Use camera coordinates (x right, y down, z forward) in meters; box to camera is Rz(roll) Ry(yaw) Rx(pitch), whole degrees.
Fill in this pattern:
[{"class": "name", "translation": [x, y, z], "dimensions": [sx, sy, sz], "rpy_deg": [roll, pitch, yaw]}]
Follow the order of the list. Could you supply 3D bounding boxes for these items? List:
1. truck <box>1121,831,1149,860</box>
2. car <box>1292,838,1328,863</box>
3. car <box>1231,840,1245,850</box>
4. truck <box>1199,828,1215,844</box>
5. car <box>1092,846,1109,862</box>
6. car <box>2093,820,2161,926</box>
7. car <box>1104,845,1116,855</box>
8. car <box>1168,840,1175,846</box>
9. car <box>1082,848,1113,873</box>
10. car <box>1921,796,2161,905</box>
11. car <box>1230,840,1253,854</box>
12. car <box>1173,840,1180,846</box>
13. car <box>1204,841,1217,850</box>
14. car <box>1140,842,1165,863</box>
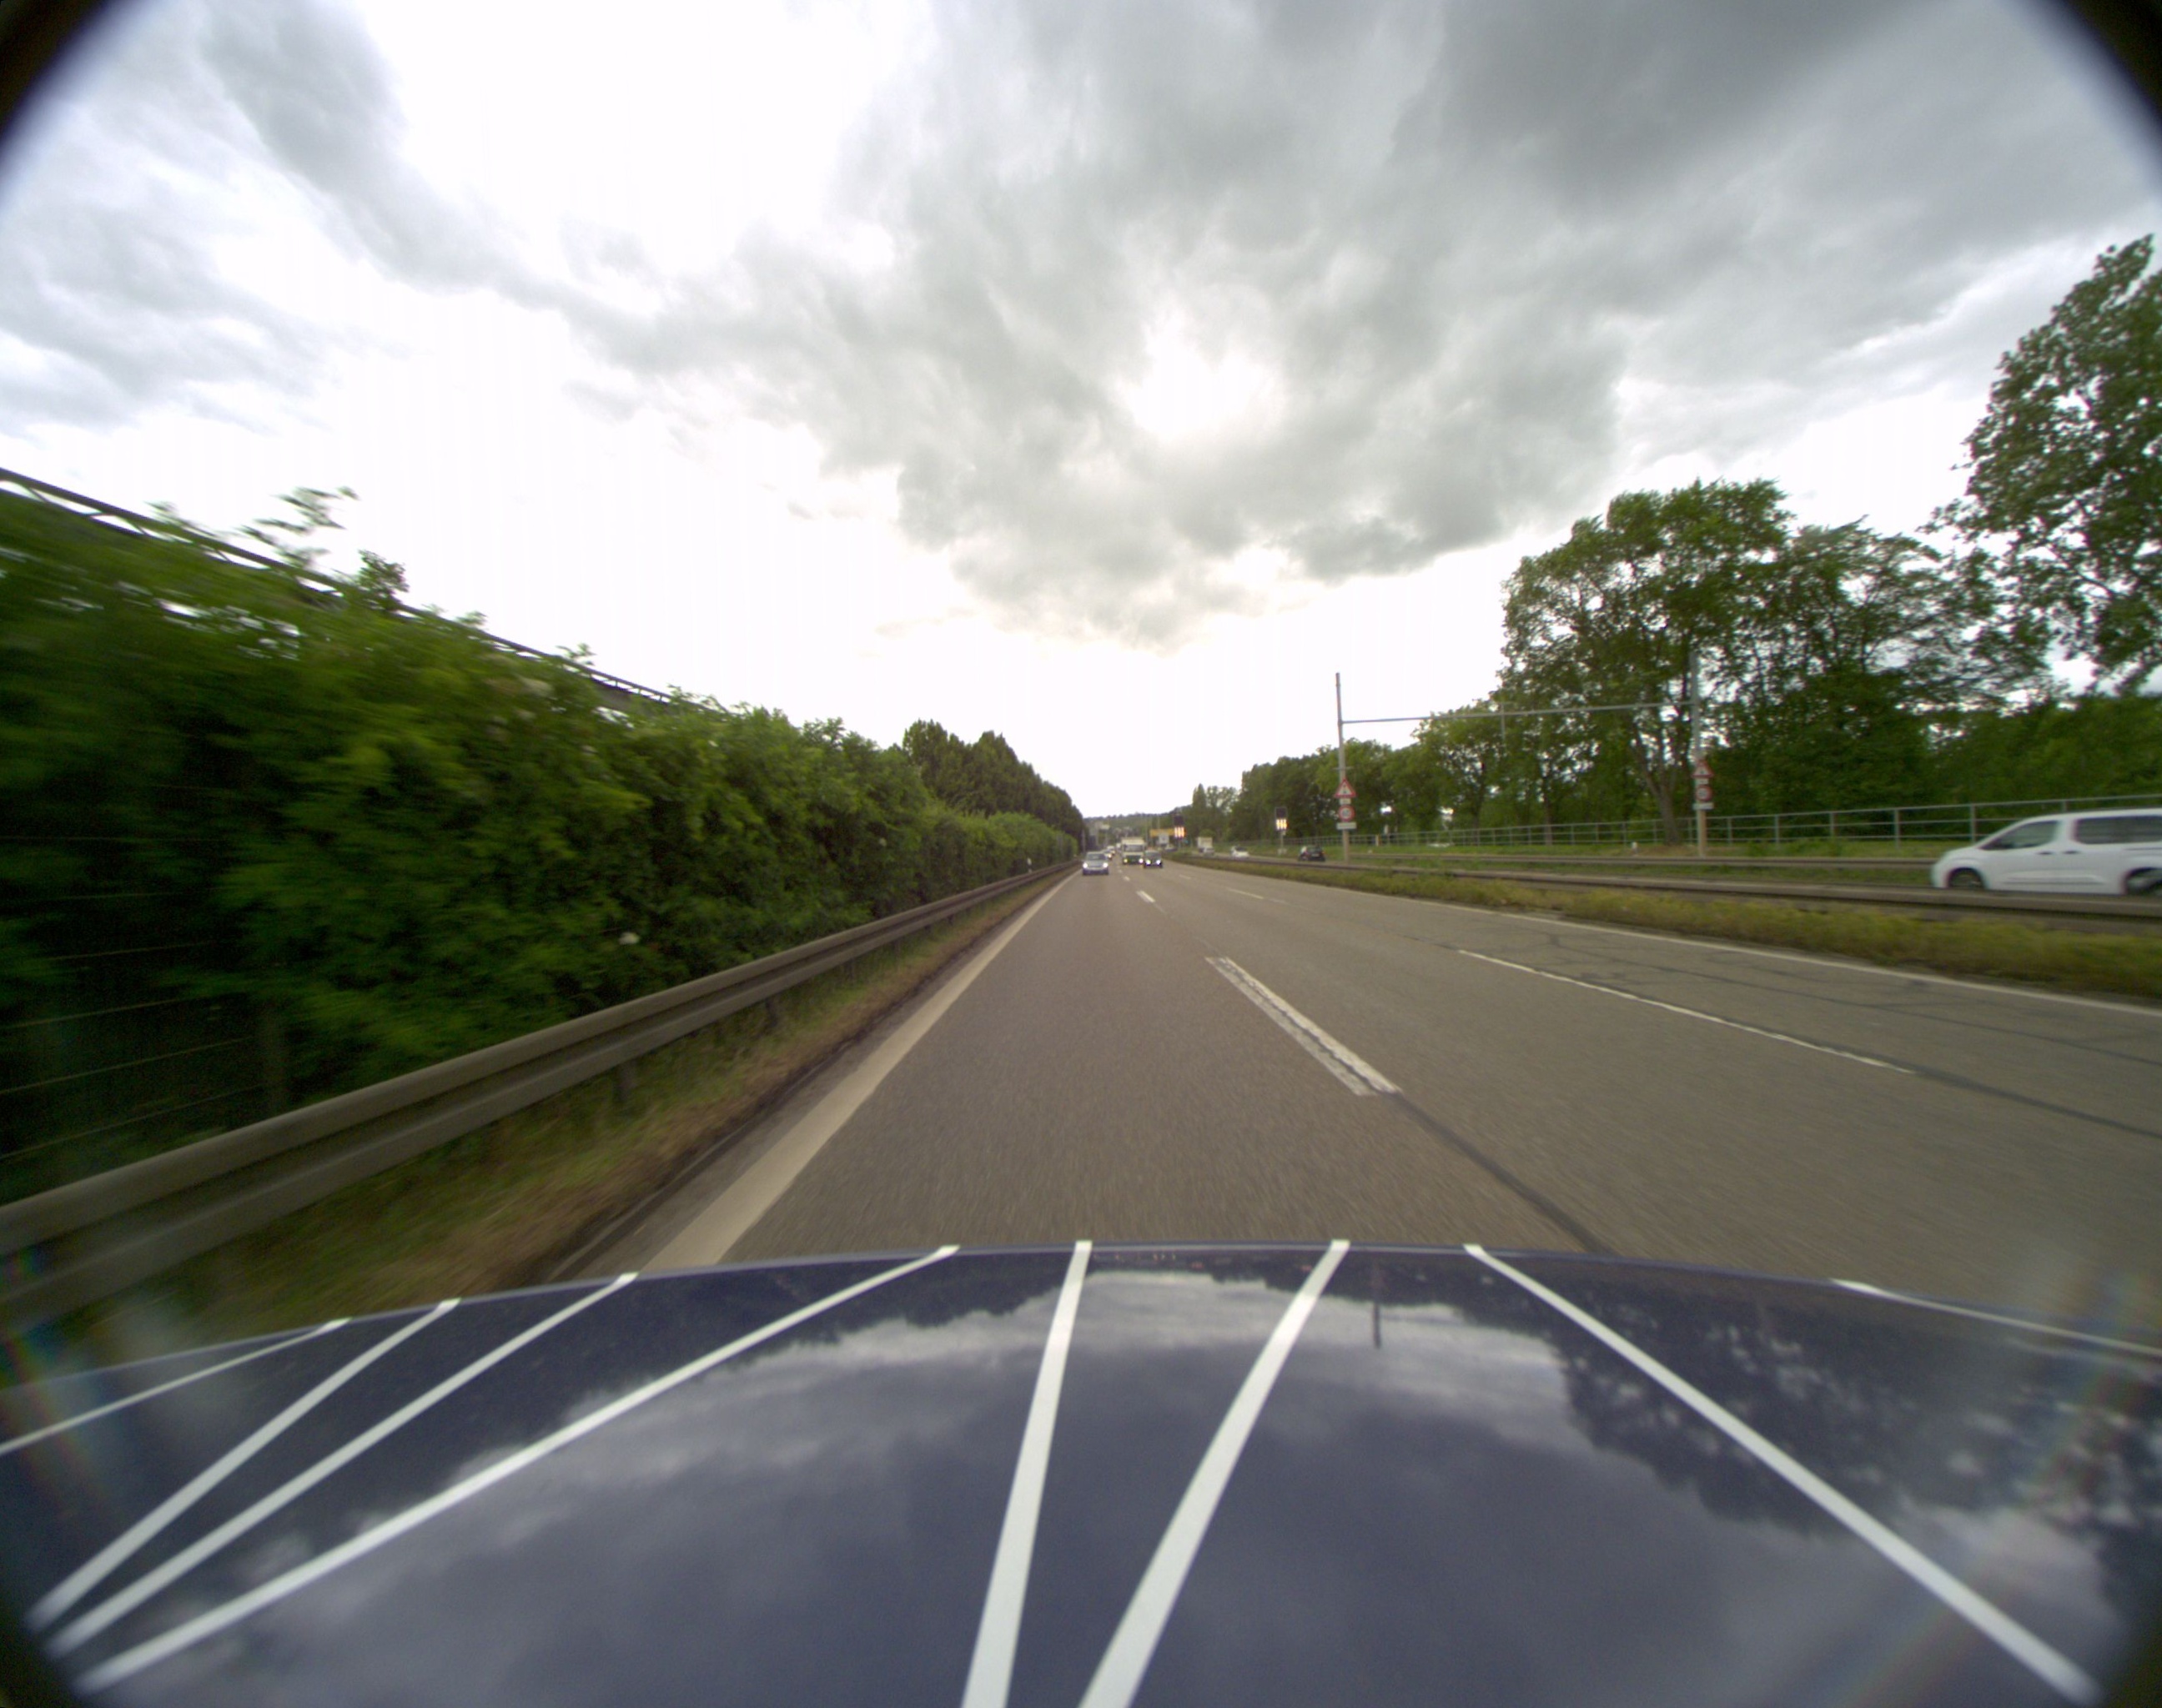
[{"class": "truck", "translation": [6.417, -0.920, 91.791], "dimensions": [2.656, 3.121, 12.510], "rpy_deg": [-3, 0, 2]}, {"class": "car", "translation": [17.740, -0.274, 58.937], "dimensions": [1.730, 1.764, 3.742], "rpy_deg": [-2, 1, 2]}, {"class": "car", "translation": [26.289, -1.521, 127.485], "dimensions": [1.730, 1.596, 4.043], "rpy_deg": [-1, 0, 3]}, {"class": "truck", "translation": [30.234, -4.296, 182.961], "dimensions": [2.895, 3.558, 9.589], "rpy_deg": [-2, 1, 5]}, {"class": "car", "translation": [2.279, -0.053, 88.530], "dimensions": [1.883, 1.714, 4.146], "rpy_deg": [-3, 0, 2]}, {"class": "car", "translation": [15.901, 0.258, 8.473], "dimensions": [1.866, 1.456, 5.550], "rpy_deg": [-2, 1, 0]}, {"class": "car", "translation": [4.912, -0.663, 130.571], "dimensions": [1.883, 1.714, 4.146], "rpy_deg": [-3, 0, 2]}, {"class": "car", "translation": [30.620, -3.754, 257.681], "dimensions": [2.230, 1.936, 5.475], "rpy_deg": [-3, 1, 5]}, {"class": "car", "translation": [1.126, 0.420, 51.026], "dimensions": [1.883, 1.530, 4.147], "rpy_deg": [-3, 0, 2]}, {"class": "car", "translation": [19.386, -0.110, 14.529], "dimensions": [1.614, 1.873, 4.561], "rpy_deg": [-2, 1, 0]}, {"class": "car", "translation": [19.834, -0.850, 94.131], "dimensions": [1.871, 1.665, 4.719], "rpy_deg": [-2, 0, 2]}, {"class": "car", "translation": [29.597, -3.533, 234.781], "dimensions": [1.883, 1.714, 4.148], "rpy_deg": [-3, 0, 5]}, {"class": "car", "translation": [24.132, -1.629, 141.735], "dimensions": [1.701, 1.595, 4.539], "rpy_deg": [-1, 0, 3]}, {"class": "car", "translation": [6.420, -0.131, 68.444], "dimensions": [1.883, 1.714, 4.146], "rpy_deg": [-3, 0, 2]}]
